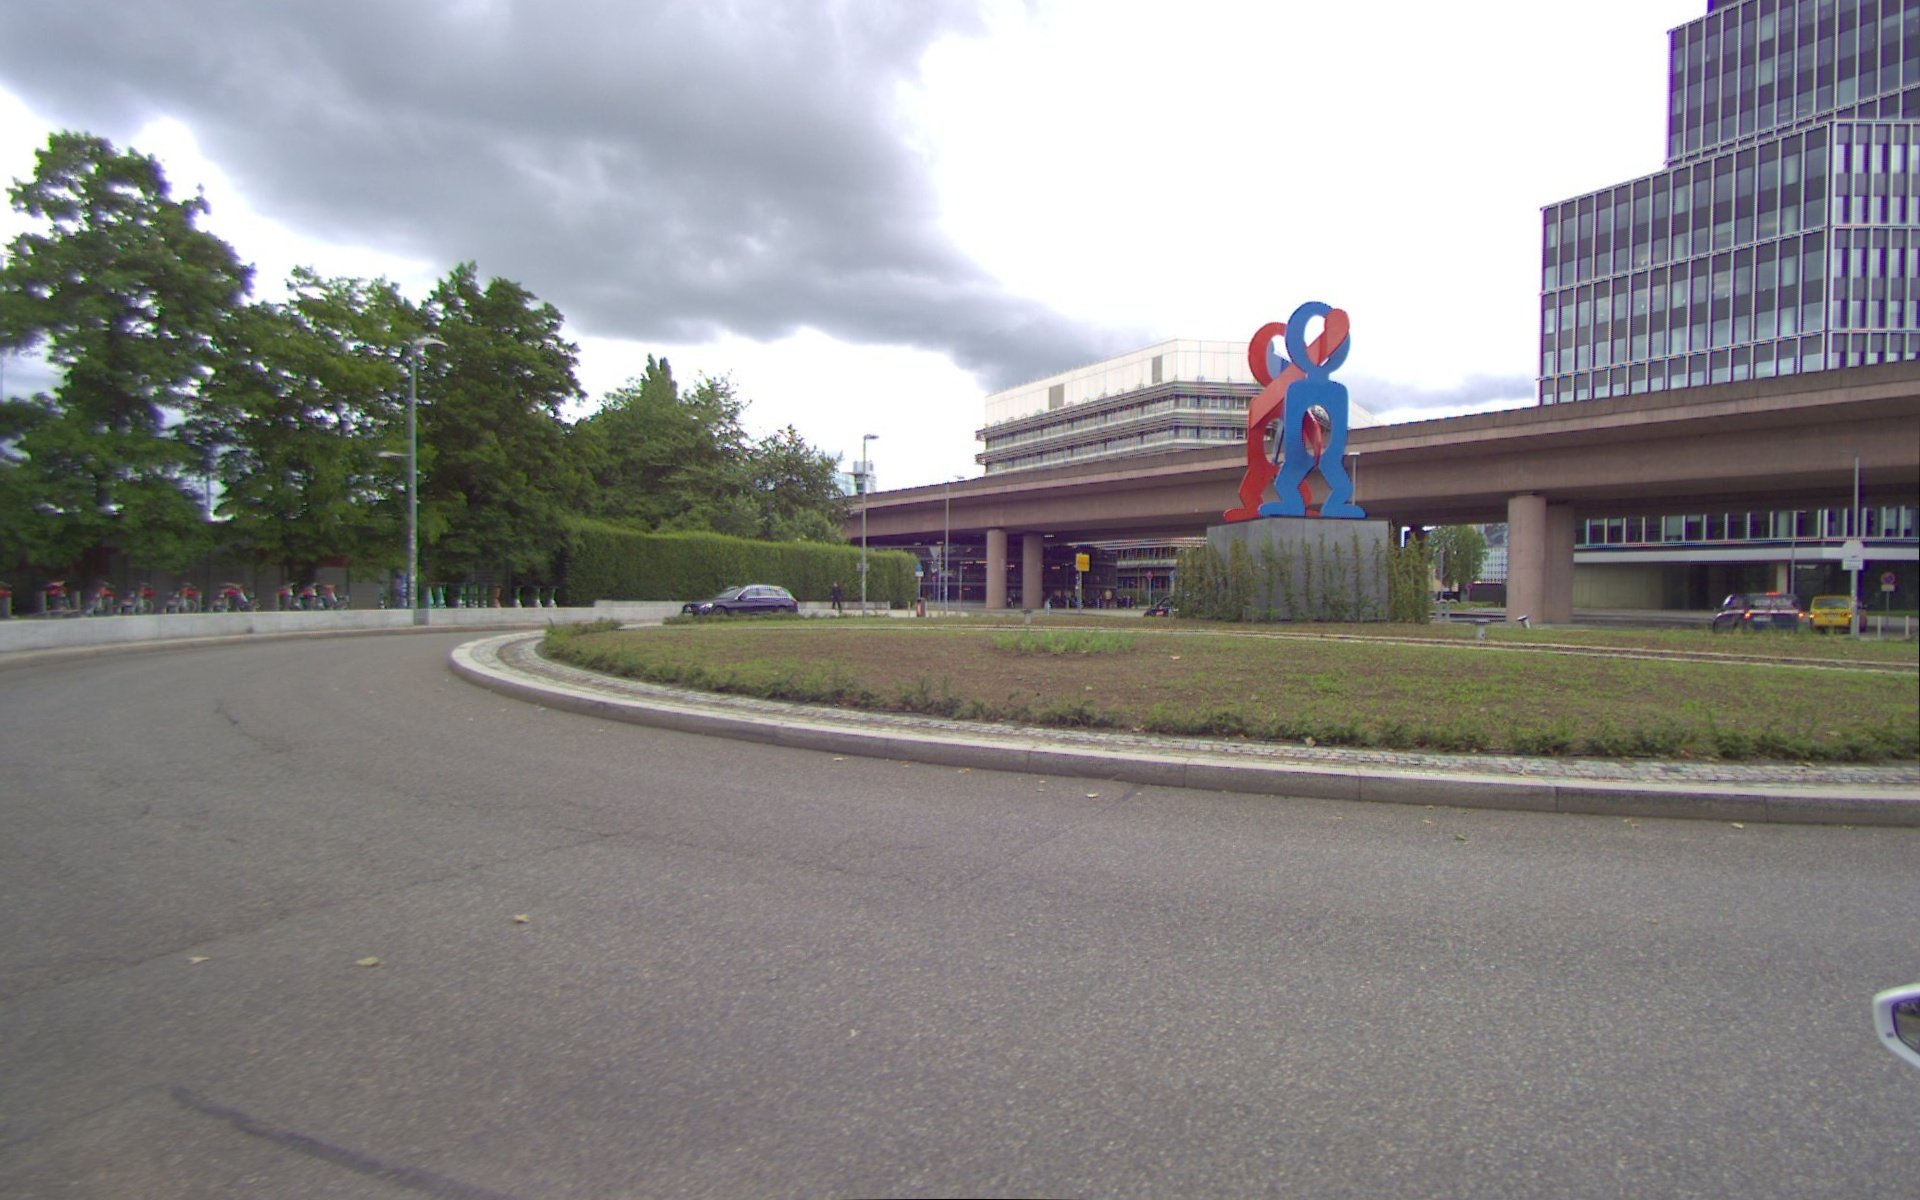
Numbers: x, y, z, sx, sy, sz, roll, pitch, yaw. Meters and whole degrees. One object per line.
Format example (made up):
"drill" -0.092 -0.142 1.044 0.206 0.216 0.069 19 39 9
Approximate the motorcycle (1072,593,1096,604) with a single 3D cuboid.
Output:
"motorcycle" 13.385 -0.133 108.414 1.030 1.127 2.632 1 1 -38

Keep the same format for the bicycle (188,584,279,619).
"bicycle" -25.127 0.054 34.745 3.127 1.112 0.773 1 1 15

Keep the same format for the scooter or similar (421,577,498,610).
"scooter or similar" -20.702 -0.284 41.533 3.127 1.266 0.773 1 1 15

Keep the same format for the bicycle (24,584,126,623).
"bicycle" -27.216 0.088 30.879 3.127 1.112 0.773 1 1 15

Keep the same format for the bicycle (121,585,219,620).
"bicycle" -25.574 0.091 32.524 3.127 1.112 0.773 0 0 15

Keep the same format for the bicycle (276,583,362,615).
"bicycle" -23.635 -0.039 37.014 3.127 1.112 0.773 1 1 15

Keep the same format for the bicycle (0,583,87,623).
"bicycle" -27.636 0.076 29.993 3.128 1.112 0.773 2 1 16

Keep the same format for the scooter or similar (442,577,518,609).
"scooter or similar" -20.364 -0.294 42.606 3.127 1.266 0.773 1 1 15

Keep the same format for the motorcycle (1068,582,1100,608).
"motorcycle" 6.326 -0.244 51.270 0.661 1.268 1.875 2 1 41

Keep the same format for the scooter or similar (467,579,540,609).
"scooter or similar" -20.005 -0.270 44.026 3.127 1.266 0.773 1 1 15

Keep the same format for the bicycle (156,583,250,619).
"bicycle" -25.377 0.035 33.685 3.127 1.112 0.773 1 1 15

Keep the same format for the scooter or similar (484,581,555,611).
"scooter or similar" -19.780 -0.197 45.125 3.127 1.266 0.773 1 1 15

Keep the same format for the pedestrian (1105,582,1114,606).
"pedestrian" 12.761 -0.537 85.767 0.578 2.041 0.599 2 1 20

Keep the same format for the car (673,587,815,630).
"car" -8.020 0.294 37.610 4.901 1.480 1.974 1 1 -44

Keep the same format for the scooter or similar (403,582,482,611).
"scooter or similar" -20.940 -0.151 40.617 3.127 1.112 0.773 1 1 15

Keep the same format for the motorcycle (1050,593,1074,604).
"motorcycle" 10.867 -0.170 106.718 1.030 1.127 2.632 1 1 -38

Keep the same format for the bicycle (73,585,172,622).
"bicycle" -26.514 0.106 31.798 3.127 1.112 0.773 1 1 15

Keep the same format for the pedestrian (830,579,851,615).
"pedestrian" -6.893 -0.154 57.881 1.025 2.041 0.599 2 1 20

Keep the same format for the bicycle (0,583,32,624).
"bicycle" -28.070 0.053 28.690 3.128 1.112 0.773 2 1 16

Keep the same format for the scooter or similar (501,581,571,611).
"scooter or similar" -19.434 -0.189 46.005 3.127 1.266 0.773 1 1 15

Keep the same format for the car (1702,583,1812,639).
"car" 31.467 0.382 39.843 2.240 2.041 4.780 2 1 24

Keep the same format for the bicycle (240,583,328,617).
"bicycle" -24.185 -0.010 35.933 3.127 1.112 0.773 1 1 15

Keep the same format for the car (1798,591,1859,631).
"car" 46.400 0.562 53.655 3.970 2.041 1.975 1 1 -42
